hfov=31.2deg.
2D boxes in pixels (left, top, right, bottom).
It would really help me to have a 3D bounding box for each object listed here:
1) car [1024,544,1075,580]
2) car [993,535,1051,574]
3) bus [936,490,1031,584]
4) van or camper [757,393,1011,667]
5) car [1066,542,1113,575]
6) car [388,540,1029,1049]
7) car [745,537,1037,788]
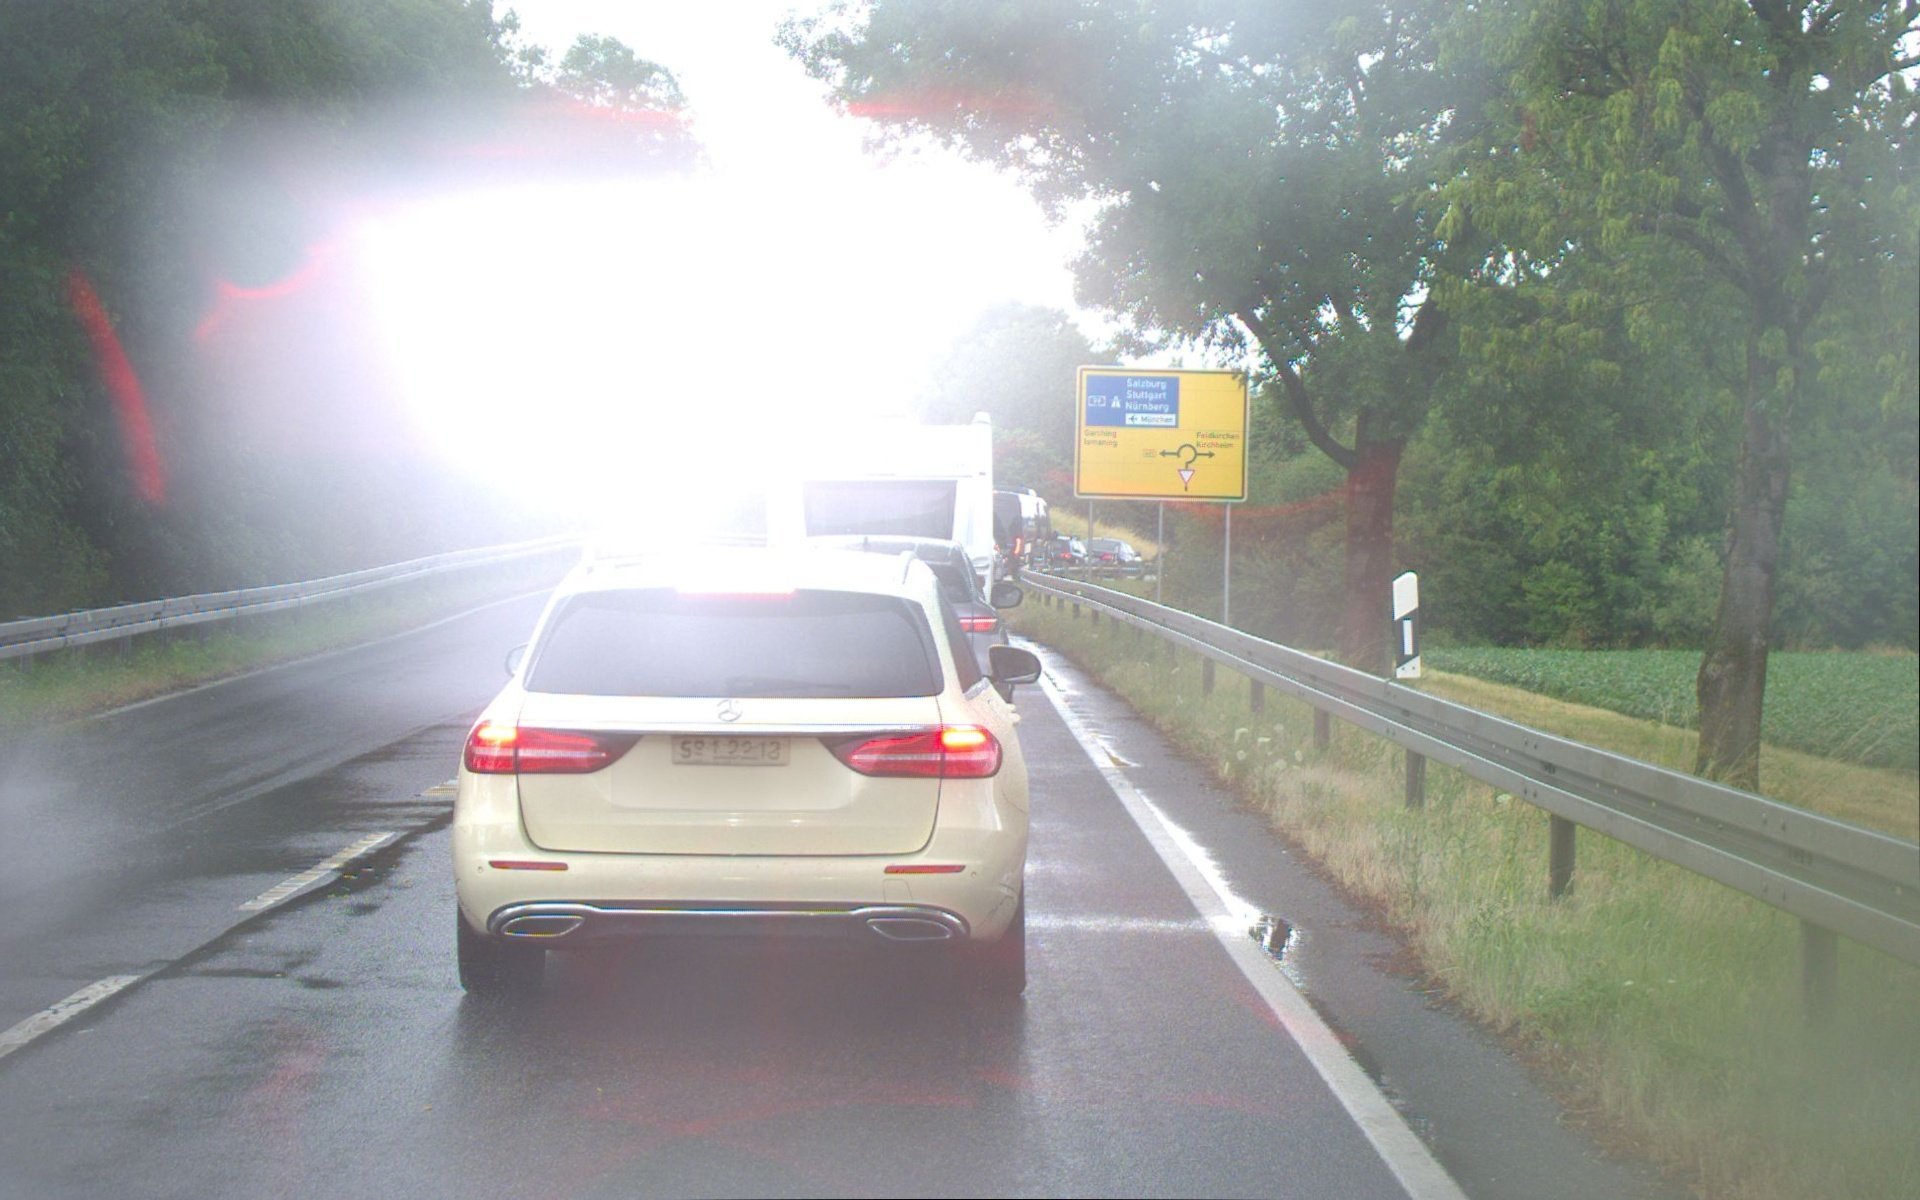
[{"bbox_3d":[2.807,-1.216,108.929,1.551,1.114,4.000,0,1,1],"label":"car"},{"bbox_3d":[1.777,-1.320,99.833,1.551,1.114,4.000,0,1,-1],"label":"car"},{"bbox_3d":[0.488,-1.394,75.986,1.993,2.007,4.000,-1,1,-1],"label":"bus"},{"bbox_3d":[-0.714,-0.746,36.735,2.489,2.676,5.700,0,1,1],"label":"van or camper"},{"bbox_3d":[4.403,-1.420,117.082,1.552,1.114,4.000,0,1,2],"label":"car"},{"bbox_3d":[-0.708,0.535,12.040,1.865,1.471,4.000,0,1,1],"label":"car"},{"bbox_3d":[-0.368,0.320,21.687,1.664,1.426,4.000,0,1,1],"label":"car"}]
